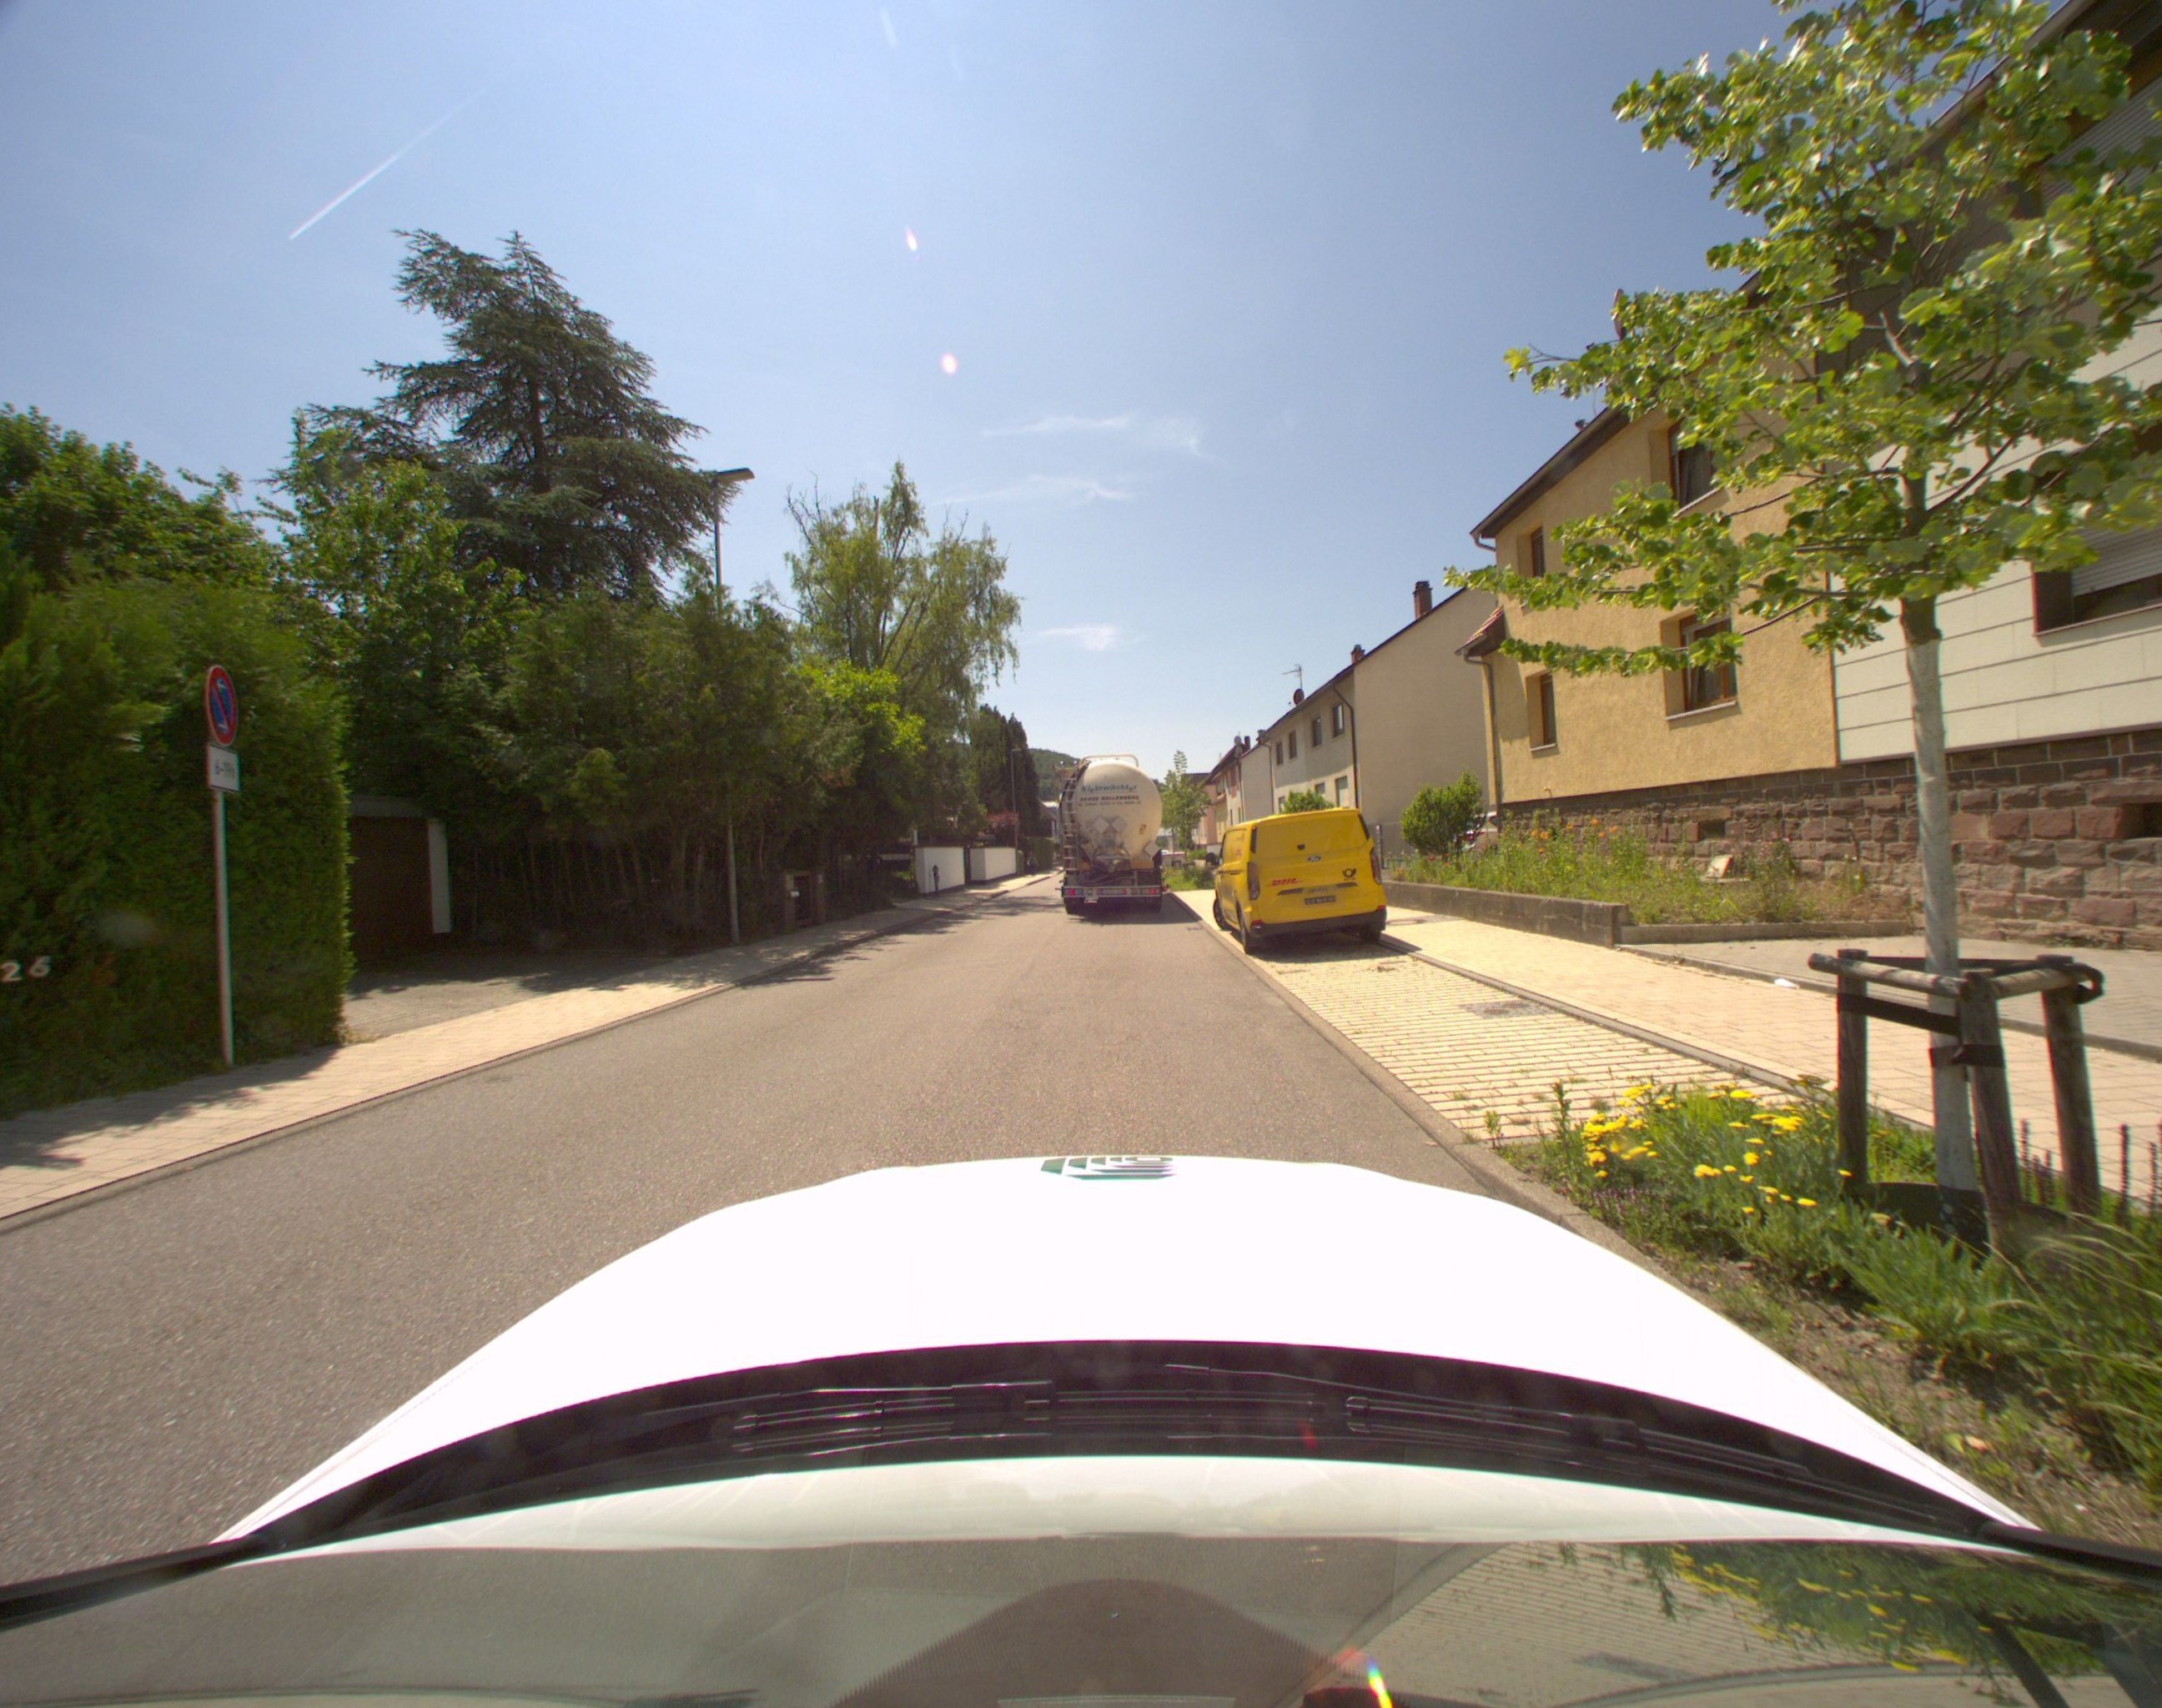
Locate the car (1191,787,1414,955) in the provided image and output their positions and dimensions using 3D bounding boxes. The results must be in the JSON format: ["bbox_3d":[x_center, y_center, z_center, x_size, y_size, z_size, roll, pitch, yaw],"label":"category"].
[{"bbox_3d":[3.356,0.269,13.775,2.182,2.013,5.624,-7,-1,1],"label":"car"}]

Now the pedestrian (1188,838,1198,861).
[{"bbox_3d":[9.914,-0.420,72.243,0.743,2.014,1.034,-1,-1,4],"label":"pedestrian"}]

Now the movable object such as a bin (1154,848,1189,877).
[{"bbox_3d":[4.807,0.448,43.473,1.565,1.416,3.043,-3,-1,2],"label":"movable object such as a bin"}]

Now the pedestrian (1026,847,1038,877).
[{"bbox_3d":[-3.416,0.558,56.800,0.718,2.014,0.804,-1,-1,2],"label":"pedestrian"}]

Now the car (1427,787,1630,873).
[{"bbox_3d":[11.153,-0.570,20.507,3.975,1.676,1.874,-6,0,0],"label":"car"}]

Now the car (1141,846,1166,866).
[{"bbox_3d":[5.876,0.173,66.805,1.749,1.418,4.635,-5,-1,2],"label":"car"}]

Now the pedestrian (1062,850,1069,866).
[{"bbox_3d":[-1.776,0.483,91.670,0.710,1.823,0.898,-1,-1,-1],"label":"pedestrian"}]

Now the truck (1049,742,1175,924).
[{"bbox_3d":[0.926,-0.493,24.017,2.739,4.056,10.895,-2,0,2],"label":"truck"}]
